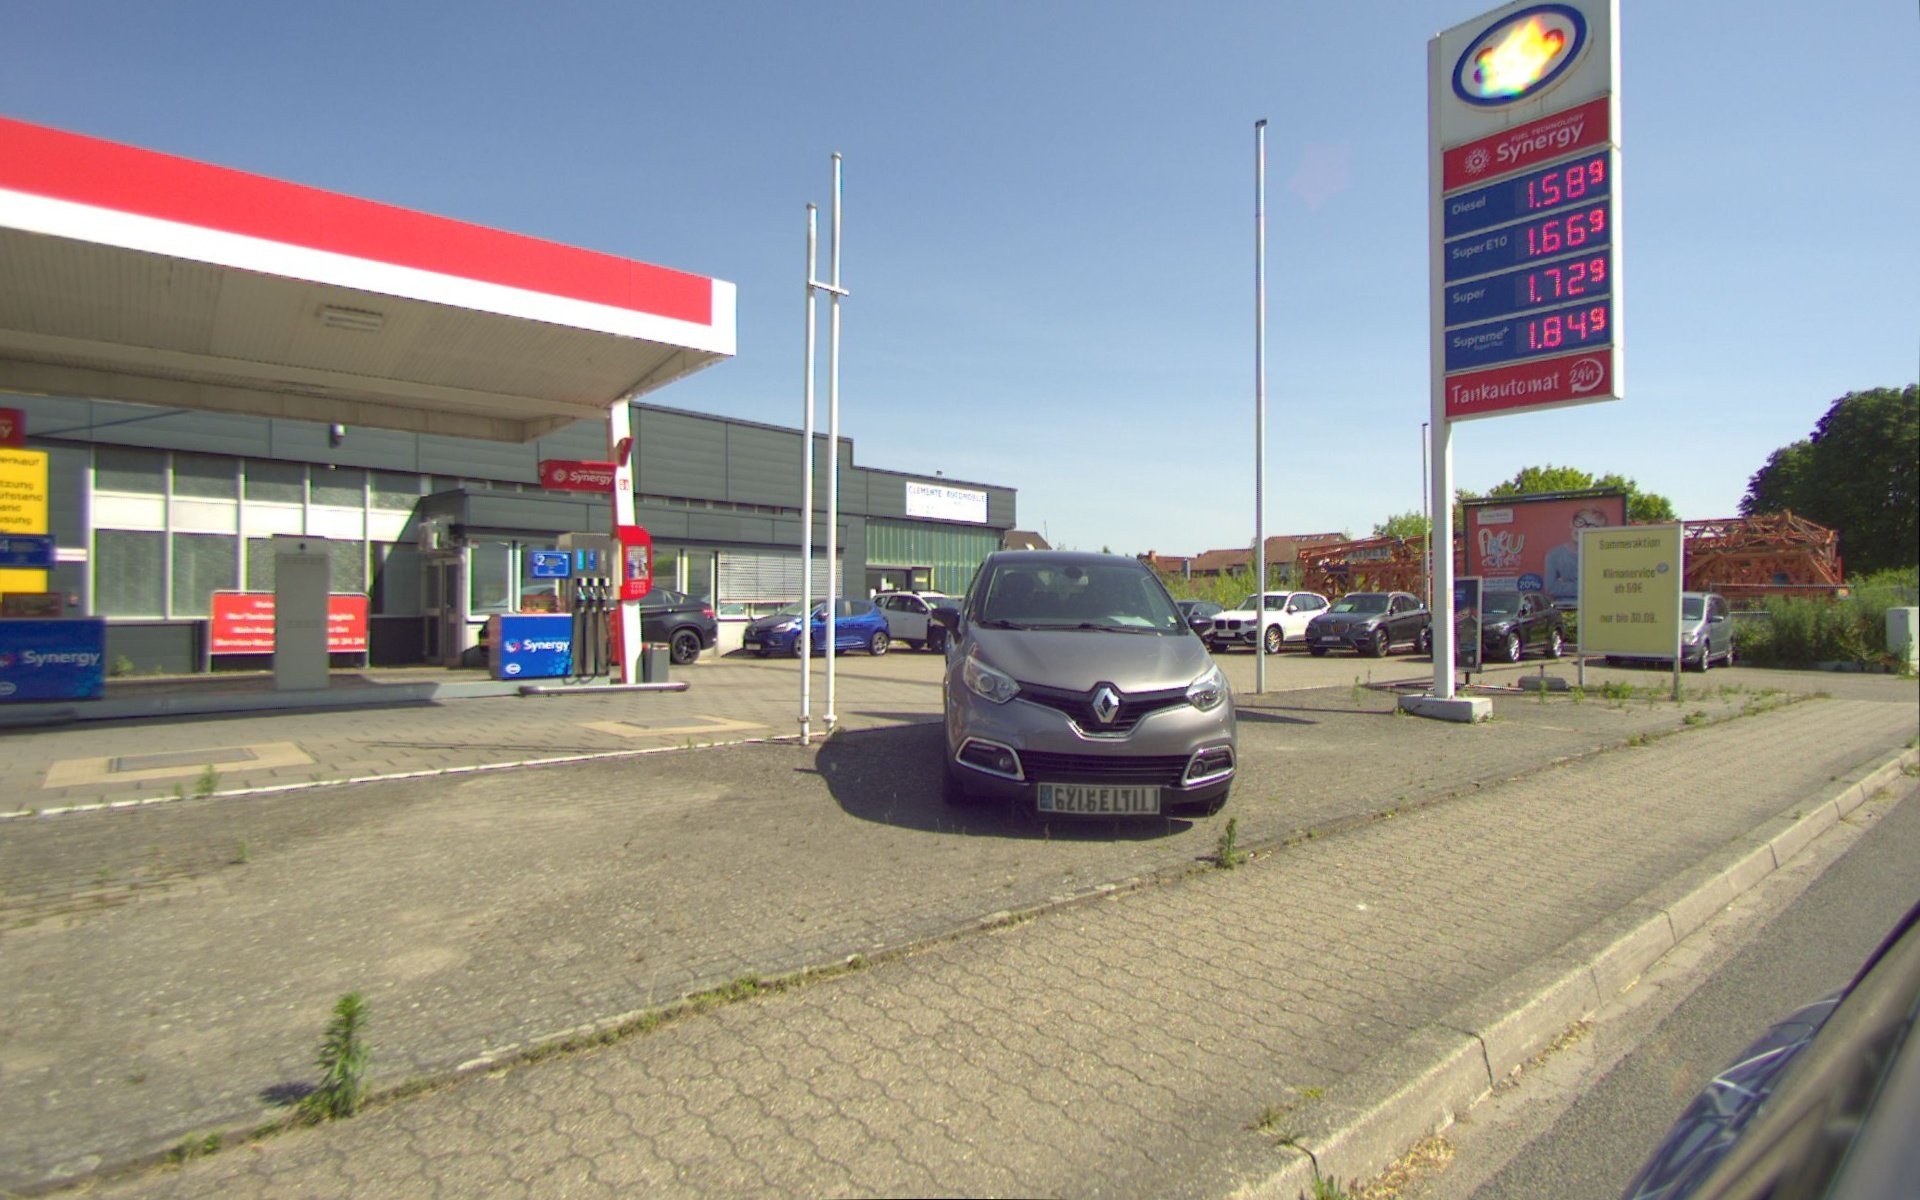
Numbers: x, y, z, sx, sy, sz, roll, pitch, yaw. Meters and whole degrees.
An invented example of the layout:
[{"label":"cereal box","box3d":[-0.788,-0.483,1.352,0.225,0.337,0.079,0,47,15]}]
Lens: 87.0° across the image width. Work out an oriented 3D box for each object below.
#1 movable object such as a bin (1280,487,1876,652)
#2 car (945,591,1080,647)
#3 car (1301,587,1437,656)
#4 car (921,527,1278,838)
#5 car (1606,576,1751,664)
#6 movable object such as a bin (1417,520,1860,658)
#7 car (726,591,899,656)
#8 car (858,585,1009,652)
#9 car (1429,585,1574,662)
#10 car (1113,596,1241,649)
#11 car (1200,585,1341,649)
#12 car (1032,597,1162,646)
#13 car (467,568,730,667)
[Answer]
[{"label":"movable object such as a bin","box3d":[17.952,-0.782,31.963,2.724,4.069,16.082,0,0,-40]},{"label":"car","box3d":[1.464,0.494,29.137,1.781,1.492,3.681,0,0,-43]},{"label":"car","box3d":[10.404,0.477,25.597,1.841,1.612,4.041,0,0,44]},{"label":"car","box3d":[0.650,0.364,7.339,1.740,1.574,4.186,2,2,-3]},{"label":"car","box3d":[15.650,0.427,21.957,4.296,1.707,1.806,2,0,-44]},{"label":"movable object such as a bin","box3d":[23.951,-0.366,37.088,2.812,4.218,13.279,0,0,-40]},{"label":"car","box3d":[-3.558,0.519,24.913,1.791,1.450,4.066,0,0,41]},{"label":"car","box3d":[-0.787,0.446,27.365,1.781,1.654,4.144,0,0,-43]},{"label":"car","box3d":[12.537,0.469,23.328,1.970,1.612,3.937,0,0,44]},{"label":"car","box3d":[6.354,0.594,29.408,1.841,1.404,3.937,0,0,44]},{"label":"car","box3d":[8.572,0.406,27.751,1.999,1.612,4.270,0,0,44]},{"label":"car","box3d":[4.331,0.612,31.535,1.841,1.404,4.307,0,0,44]},{"label":"car","box3d":[-7.119,0.368,20.396,1.801,1.764,4.748,-1,-2,40]}]
